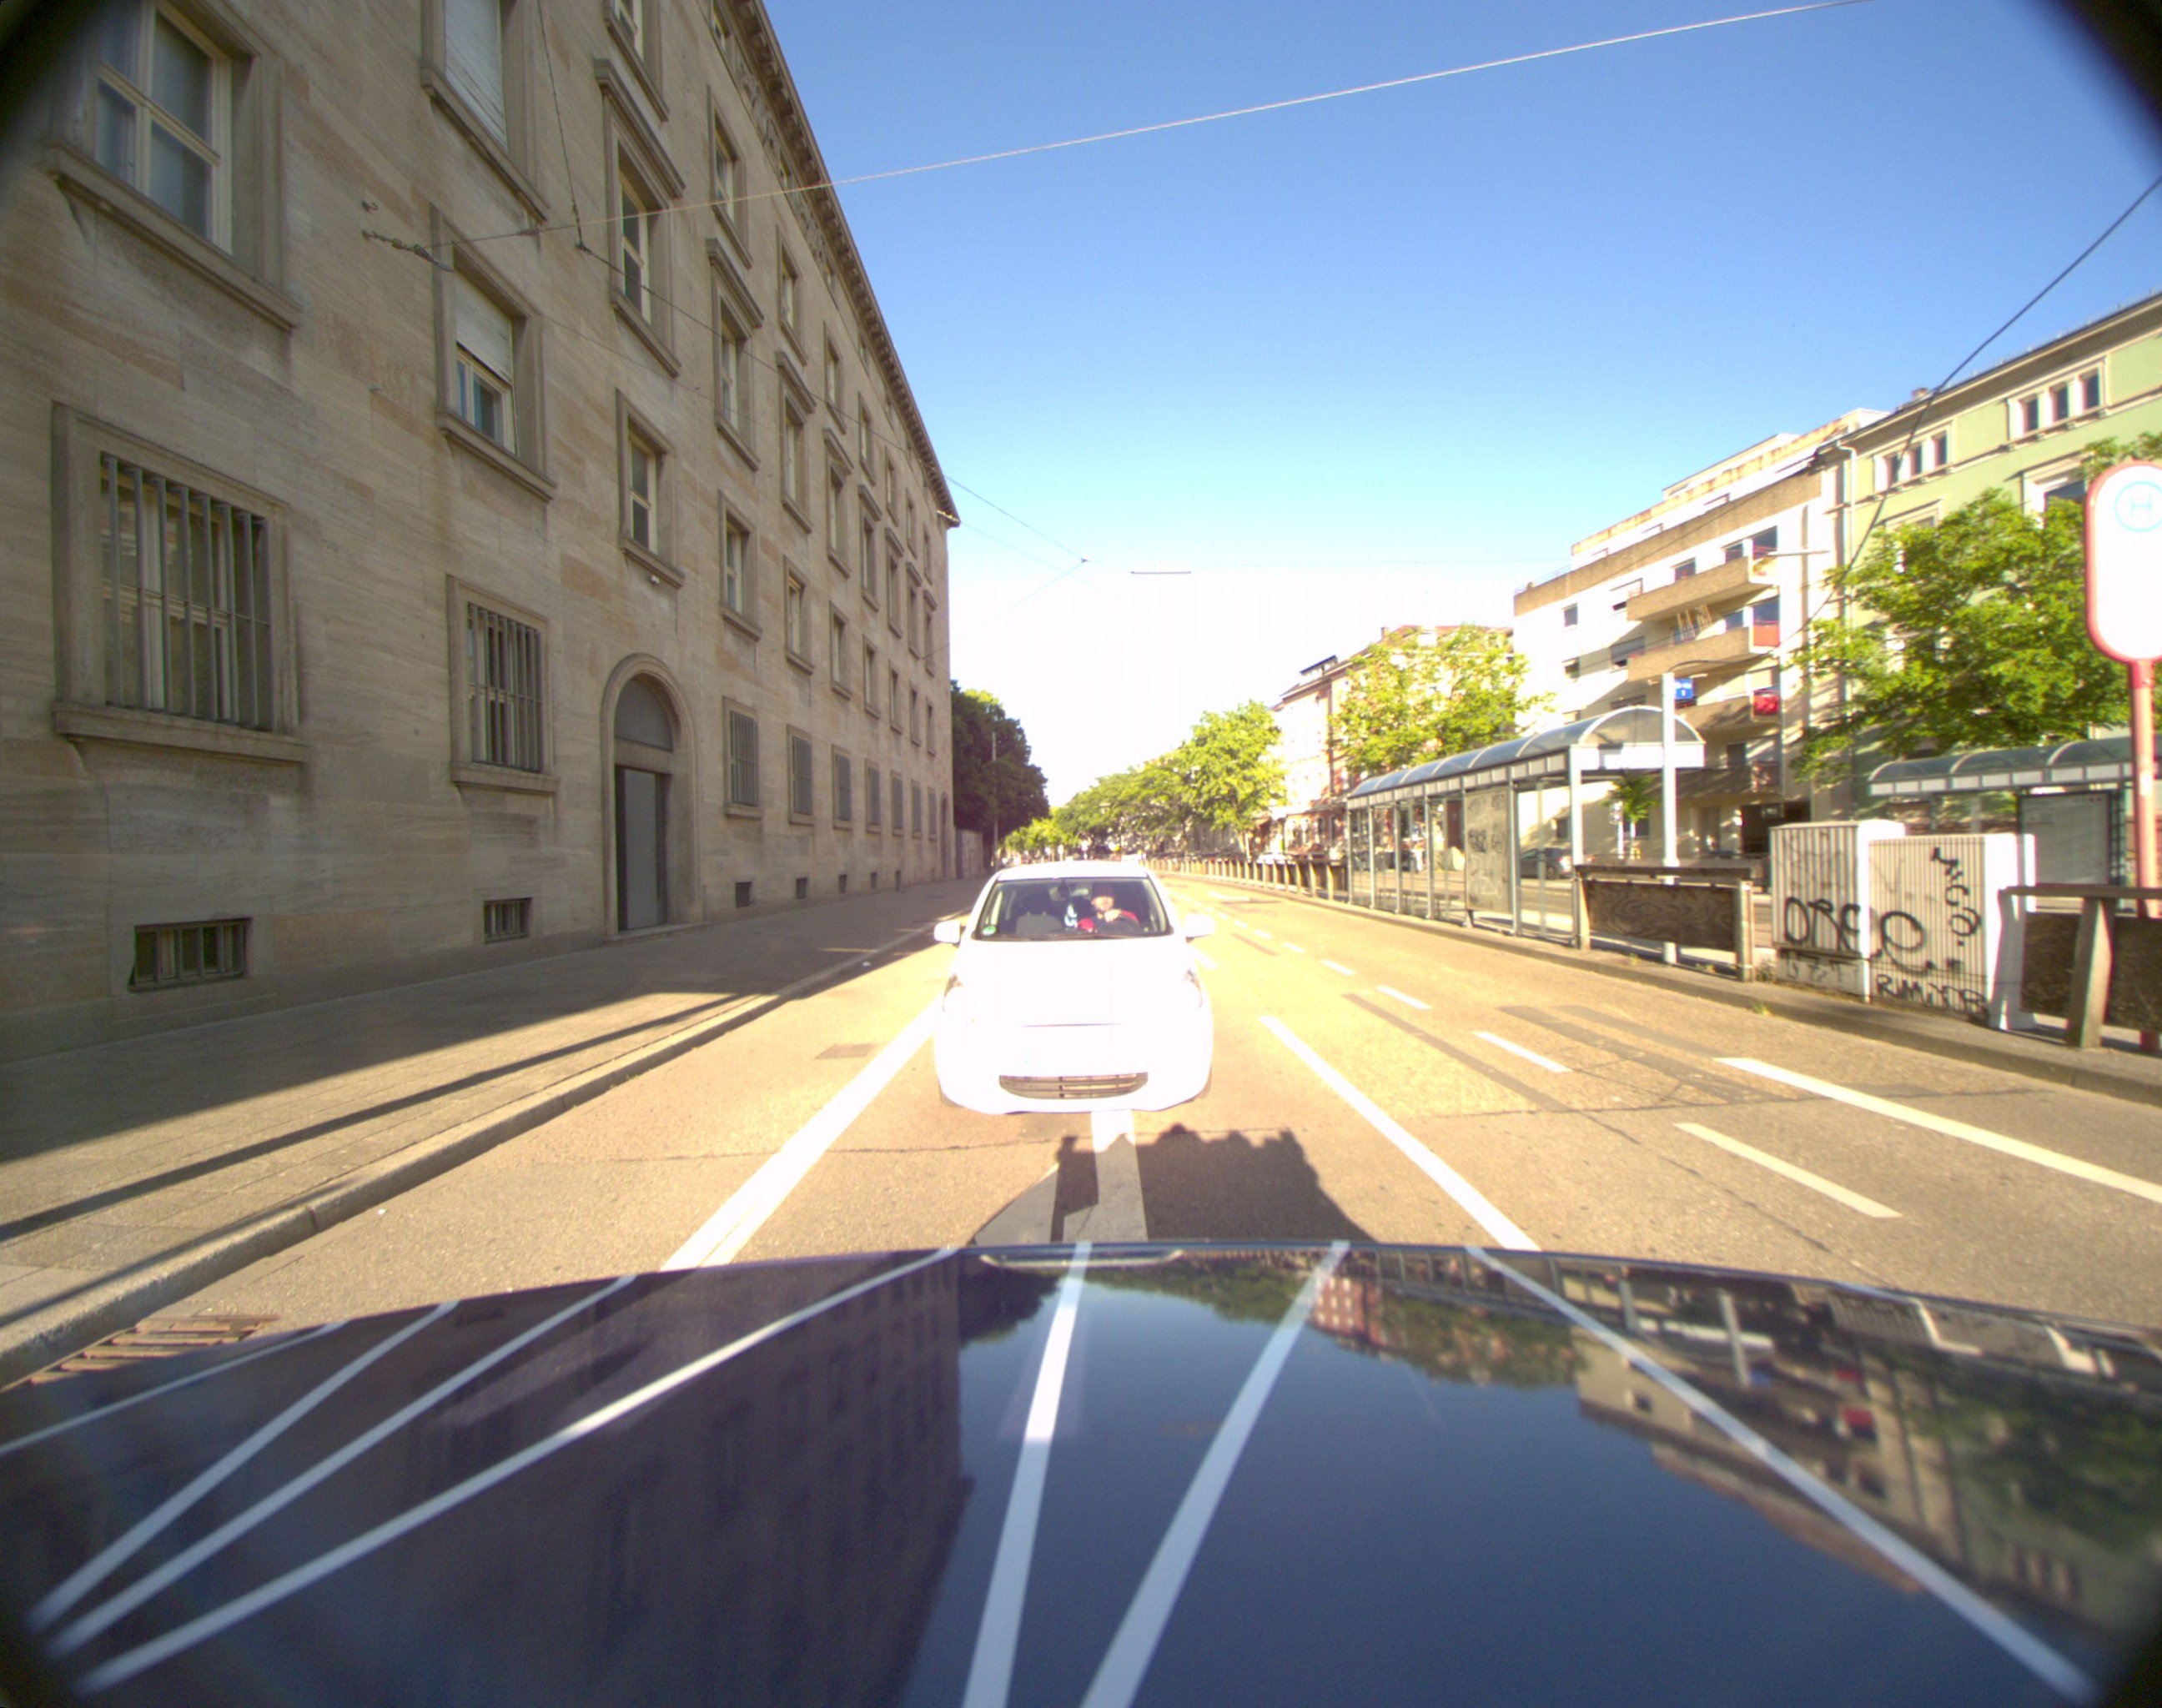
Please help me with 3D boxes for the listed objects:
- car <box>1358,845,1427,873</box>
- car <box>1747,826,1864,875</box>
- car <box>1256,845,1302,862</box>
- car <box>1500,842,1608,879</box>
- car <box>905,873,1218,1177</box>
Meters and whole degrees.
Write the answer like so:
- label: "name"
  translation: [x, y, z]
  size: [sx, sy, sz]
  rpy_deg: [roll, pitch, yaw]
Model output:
- label: "car"
  translation: [18.311, 0.286, 44.841]
  size: [2.000, 1.521, 3.997]
  rpy_deg: [-1, 0, -8]
- label: "car"
  translation: [31.509, -0.167, 33.085]
  size: [4.001, 2.002, 1.798]
  rpy_deg: [-1, 1, -13]
- label: "car"
  translation: [16.506, -0.071, 63.258]
  size: [3.648, 1.342, 1.578]
  rpy_deg: [-2, 1, -29]
- label: "car"
  translation: [21.093, 0.283, 34.063]
  size: [2.000, 1.521, 3.997]
  rpy_deg: [-1, 0, -8]
- label: "car"
  translation: [-0.076, 0.946, 5.798]
  size: [1.606, 1.455, 3.621]
  rpy_deg: [-1, 0, 1]
